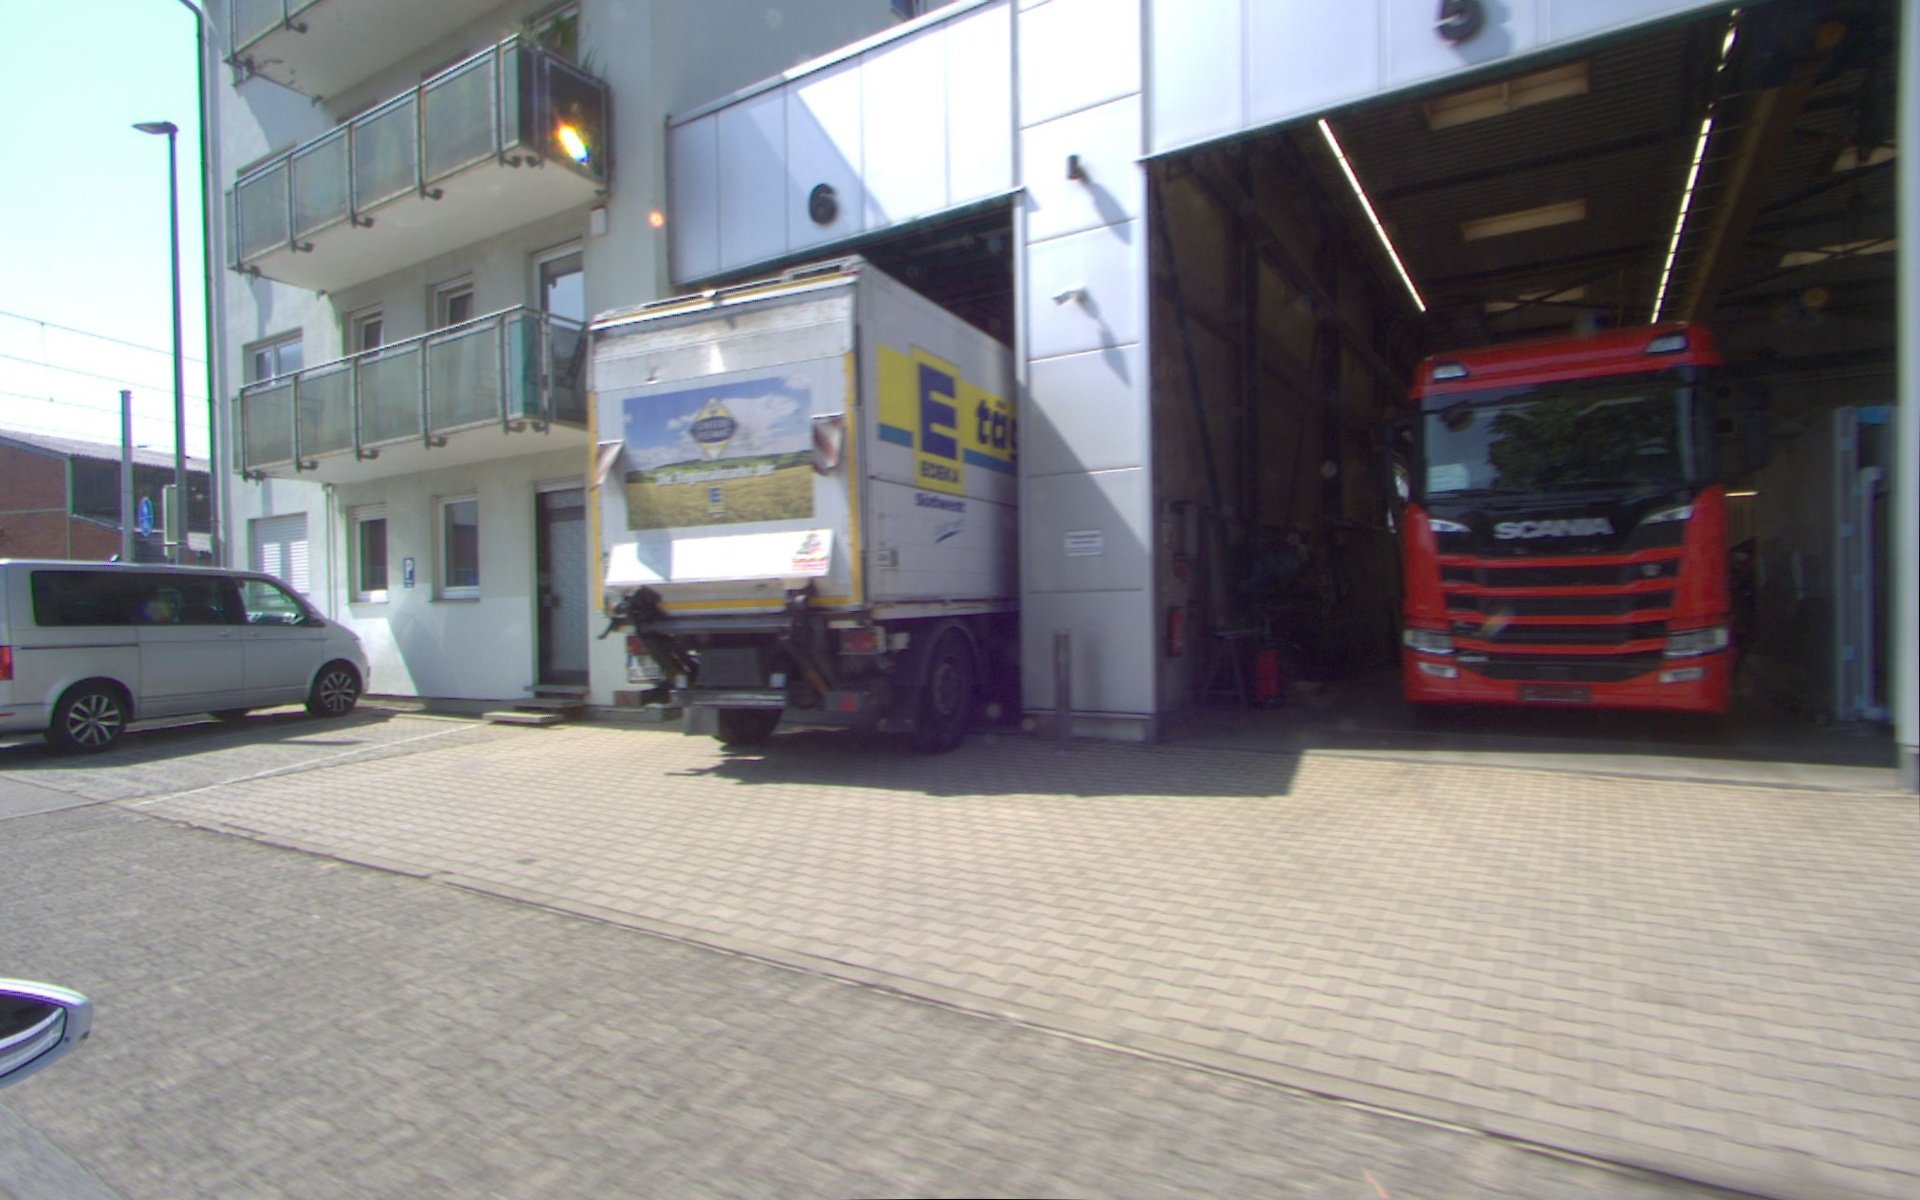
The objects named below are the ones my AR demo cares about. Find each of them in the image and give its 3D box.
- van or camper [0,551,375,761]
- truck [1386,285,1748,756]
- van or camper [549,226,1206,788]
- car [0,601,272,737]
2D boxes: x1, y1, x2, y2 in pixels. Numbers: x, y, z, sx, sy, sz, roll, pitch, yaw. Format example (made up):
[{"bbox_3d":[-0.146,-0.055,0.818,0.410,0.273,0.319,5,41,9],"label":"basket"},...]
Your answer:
[{"bbox_3d":[-9.376,0.538,11.565,1.962,1.933,4.552,-1,0,12],"label":"van or camper"},{"bbox_3d":[6.900,-0.586,11.350,2.445,3.449,7.930,-1,0,33],"label":"truck"},{"bbox_3d":[0.504,-0.607,12.516,2.736,3.741,11.597,-1,0,25],"label":"van or camper"},{"bbox_3d":[-11.559,0.806,13.257,1.844,1.541,3.973,-1,0,7],"label":"car"}]
